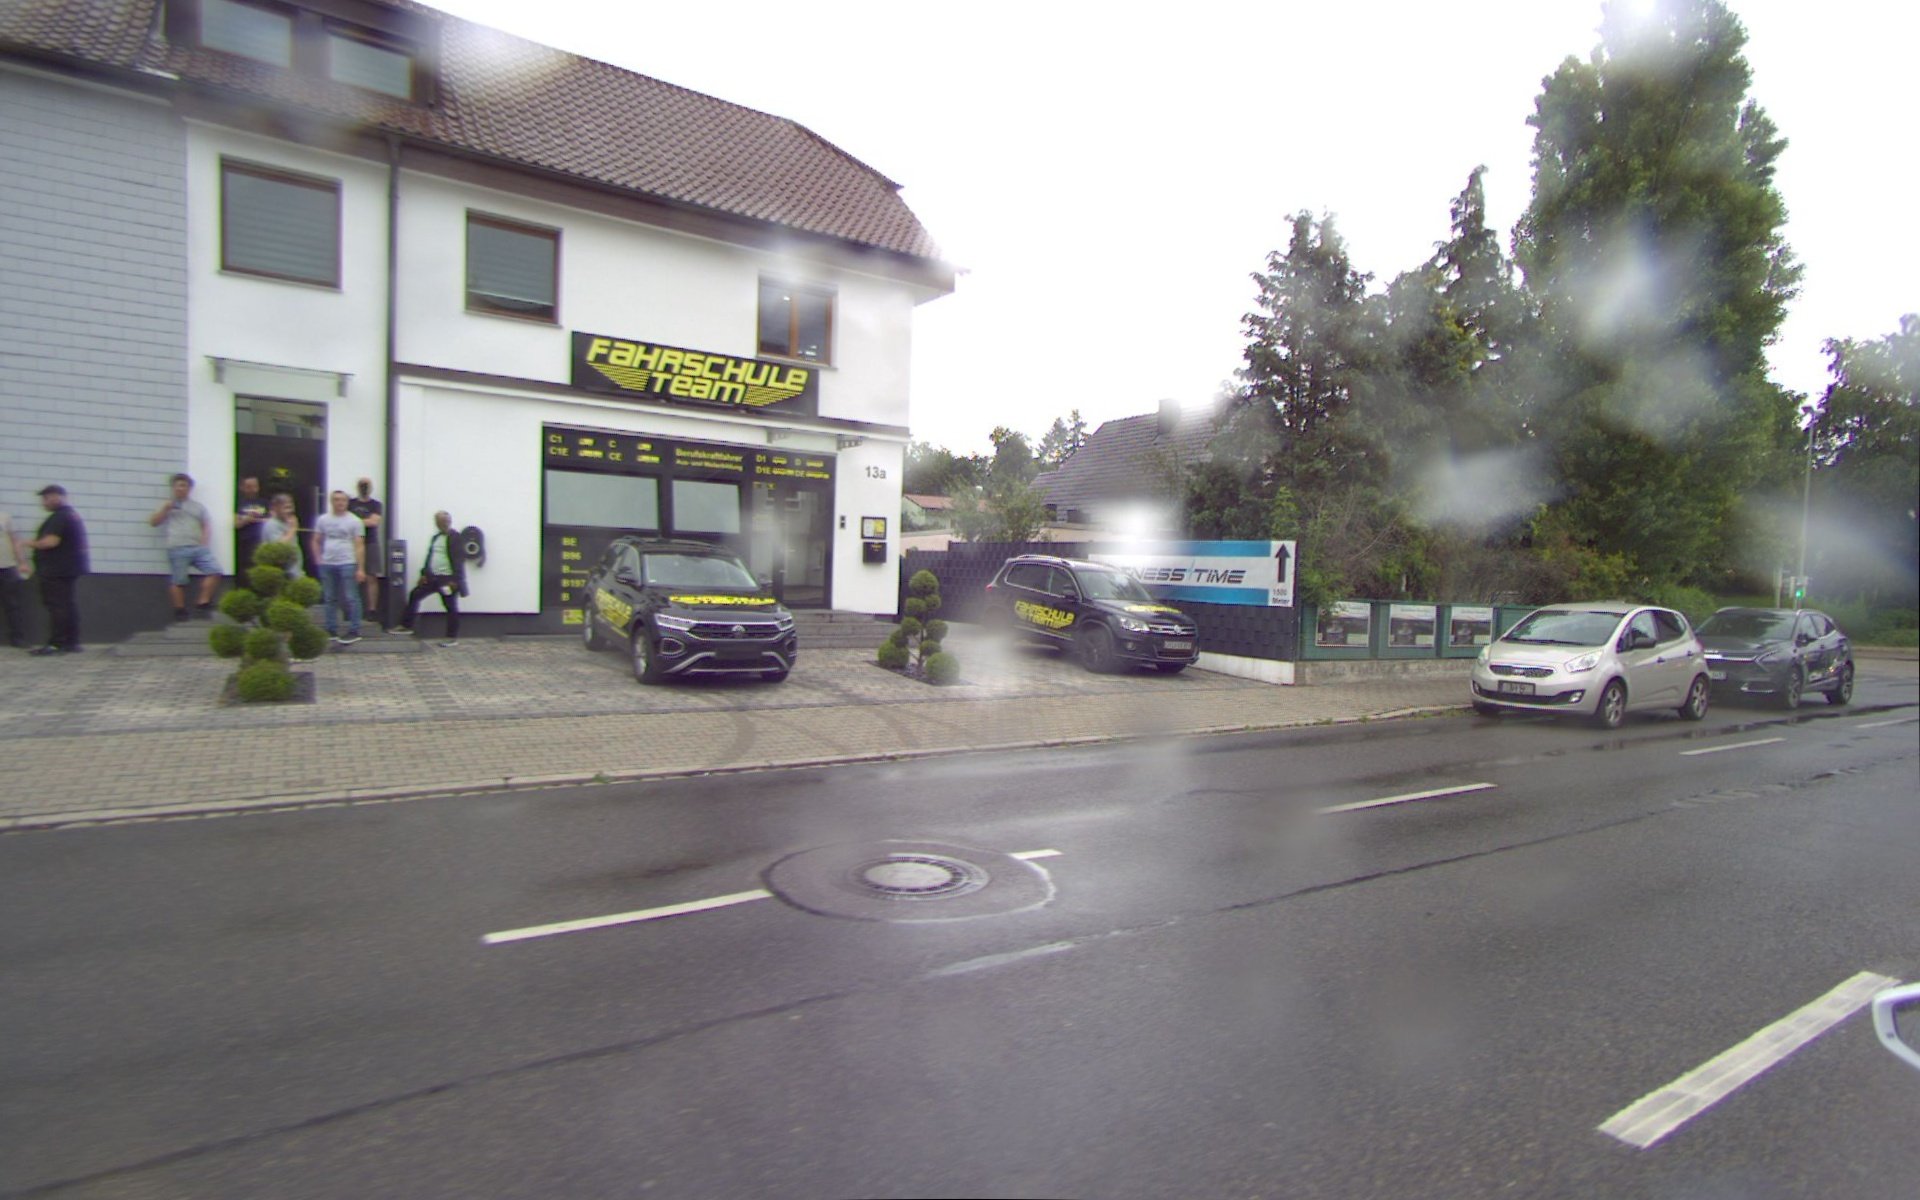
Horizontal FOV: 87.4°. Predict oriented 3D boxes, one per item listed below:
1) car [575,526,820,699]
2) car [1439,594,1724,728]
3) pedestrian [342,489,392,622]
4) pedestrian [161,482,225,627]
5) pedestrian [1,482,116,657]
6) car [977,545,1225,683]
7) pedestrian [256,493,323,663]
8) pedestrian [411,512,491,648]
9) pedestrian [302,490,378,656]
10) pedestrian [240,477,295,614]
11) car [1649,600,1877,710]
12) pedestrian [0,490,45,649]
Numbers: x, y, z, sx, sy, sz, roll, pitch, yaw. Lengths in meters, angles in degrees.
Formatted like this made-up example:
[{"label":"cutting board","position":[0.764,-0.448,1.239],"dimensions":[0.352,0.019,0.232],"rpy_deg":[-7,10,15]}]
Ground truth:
[{"label":"car","position":[-3.416,0.014,12.467],"dimensions":[1.851,1.586,3.965],"rpy_deg":[0,6,-31]},{"label":"car","position":[8.755,0.801,14.072],"dimensions":[4.099,1.589,1.794],"rpy_deg":[2,0,-33]},{"label":"pedestrian","position":[-7.751,-0.585,13.138],"dimensions":[0.506,1.693,0.514],"rpy_deg":[1,4,-27]},{"label":"pedestrian","position":[-9.263,-0.545,12.143],"dimensions":[0.570,1.693,0.578],"rpy_deg":[1,5,-35]},{"label":"pedestrian","position":[-9.687,-0.329,10.820],"dimensions":[0.635,1.811,0.652],"rpy_deg":[1,4,-9]},{"label":"car","position":[2.150,0.124,16.526],"dimensions":[1.720,1.744,4.157],"rpy_deg":[1,5,-32]},{"label":"pedestrian","position":[-7.418,-0.253,11.133],"dimensions":[0.533,1.813,0.665],"rpy_deg":[1,4,-29]},{"label":"pedestrian","position":[-6.668,-0.273,13.171],"dimensions":[0.677,1.693,0.675],"rpy_deg":[3,4,-3]},{"label":"pedestrian","position":[-7.340,-0.330,11.915],"dimensions":[0.677,1.892,0.730],"rpy_deg":[2,4,-27]},{"label":"pedestrian","position":[-8.860,-0.695,12.864],"dimensions":[0.545,1.693,0.569],"rpy_deg":[1,5,-35]},{"label":"car","position":[14.251,0.929,17.760],"dimensions":[4.549,1.691,1.794],"rpy_deg":[2,0,-33]},{"label":"pedestrian","position":[-10.649,-0.348,11.223],"dimensions":[0.556,1.731,0.582],"rpy_deg":[1,5,-35]}]
